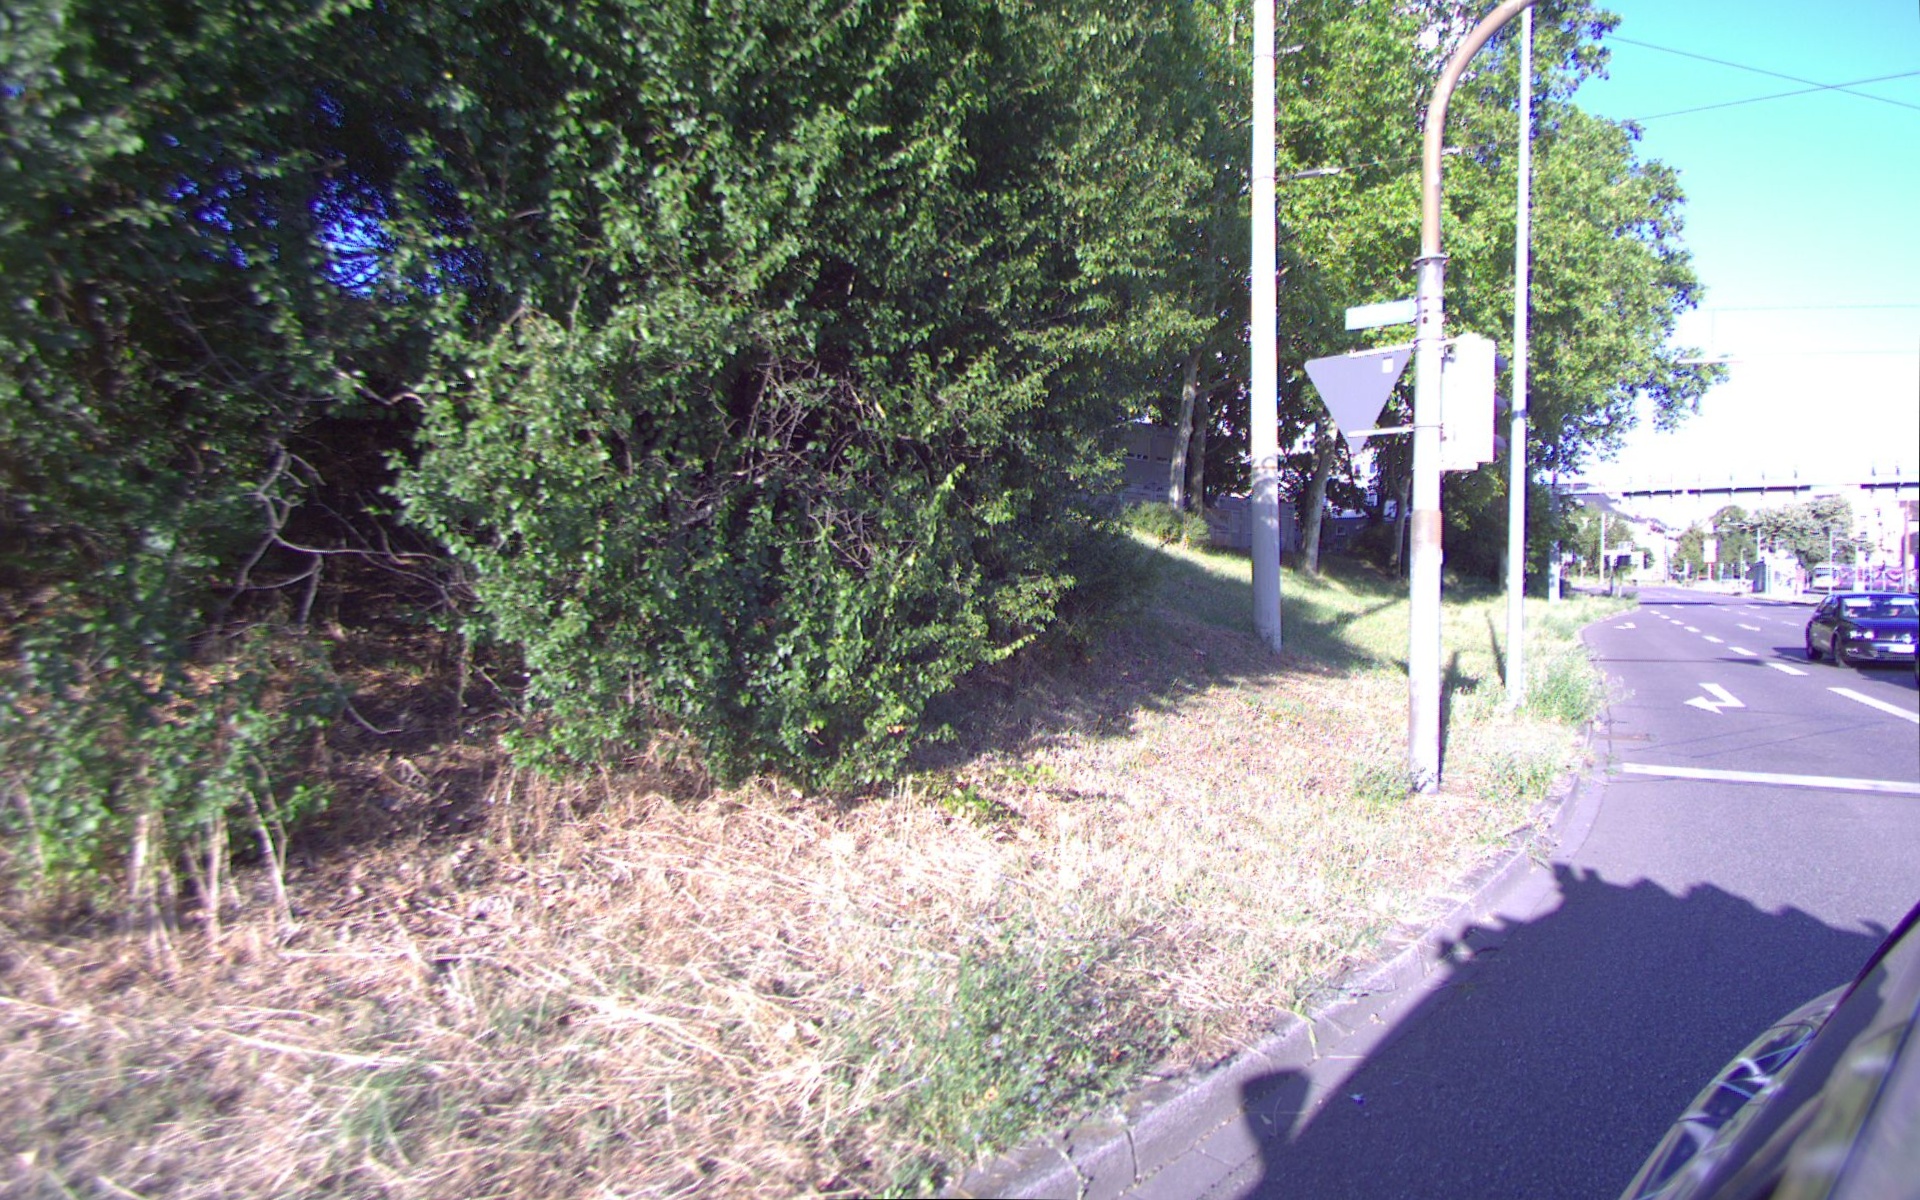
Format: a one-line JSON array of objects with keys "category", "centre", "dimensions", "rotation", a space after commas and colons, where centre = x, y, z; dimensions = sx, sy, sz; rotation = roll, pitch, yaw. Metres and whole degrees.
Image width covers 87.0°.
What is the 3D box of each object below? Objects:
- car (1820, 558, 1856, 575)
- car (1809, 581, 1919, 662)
[{"category": "car", "centre": [109.821, -4.207, 126.639], "dimensions": [3.918, 2.039, 2.003], "rotation": [-2, 0, -26]}, {"category": "car", "centre": [18.346, 0.358, 20.003], "dimensions": [1.768, 1.448, 3.882], "rotation": [0, 1, 31]}]
